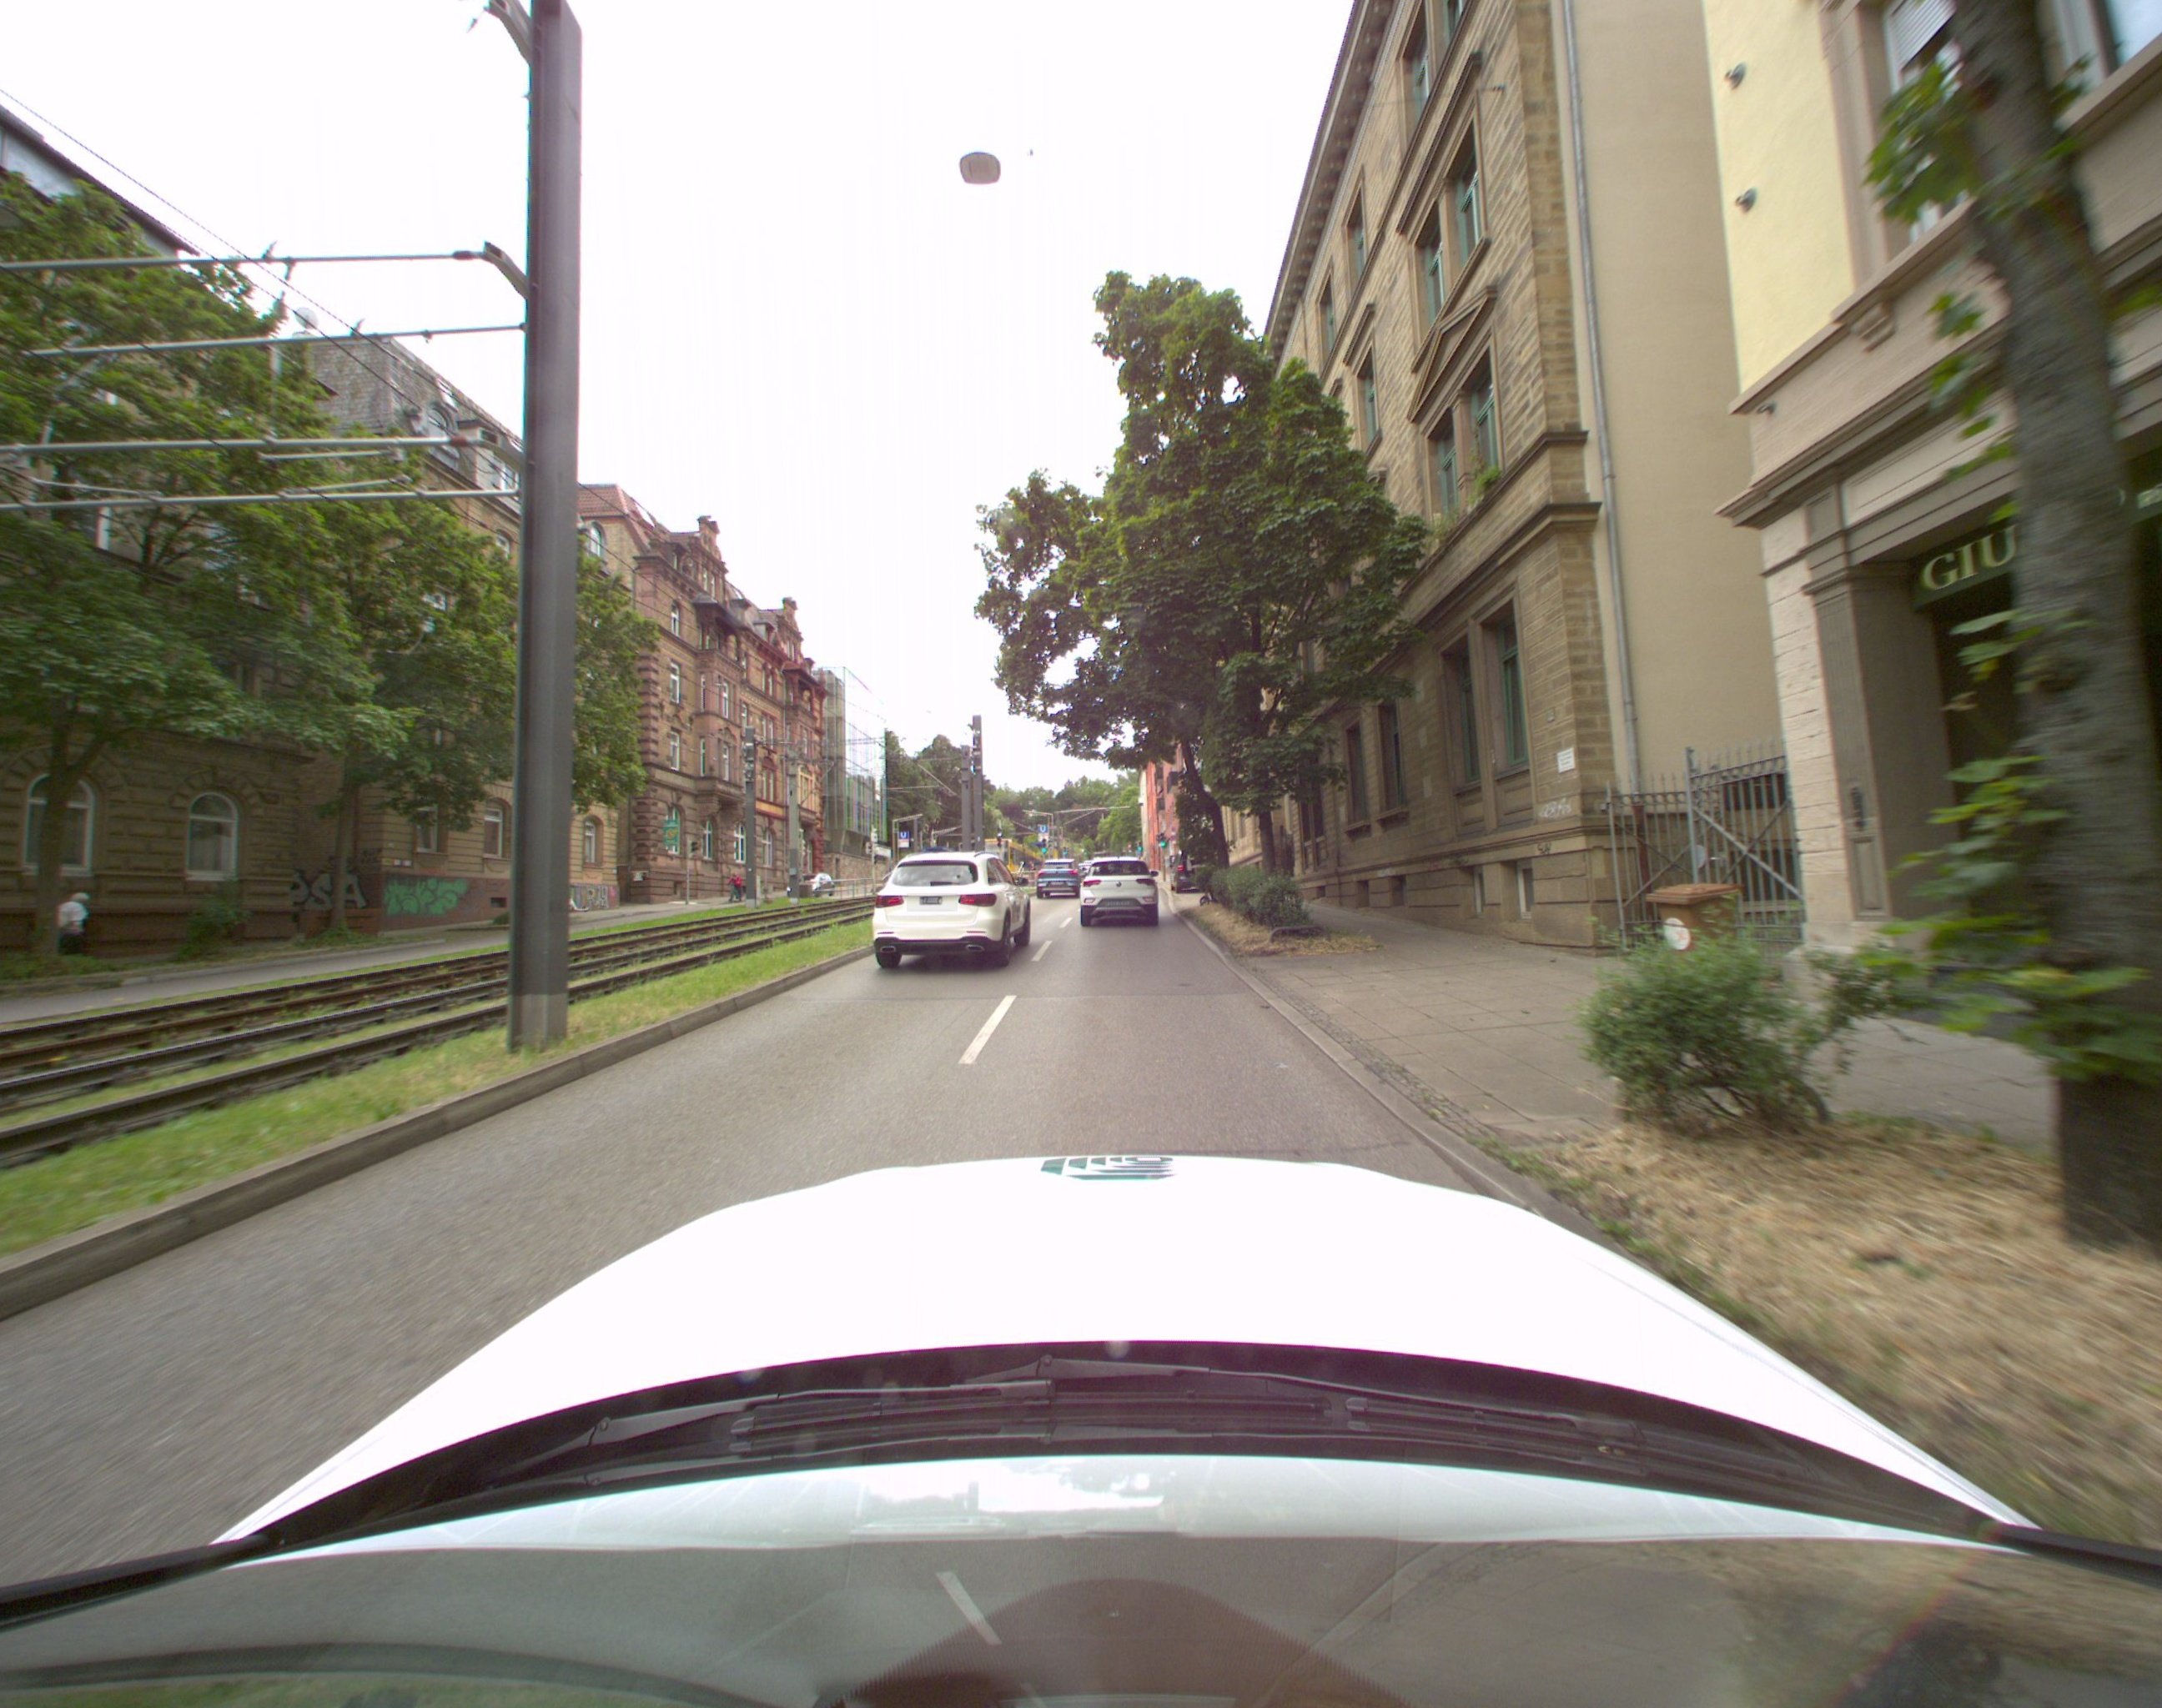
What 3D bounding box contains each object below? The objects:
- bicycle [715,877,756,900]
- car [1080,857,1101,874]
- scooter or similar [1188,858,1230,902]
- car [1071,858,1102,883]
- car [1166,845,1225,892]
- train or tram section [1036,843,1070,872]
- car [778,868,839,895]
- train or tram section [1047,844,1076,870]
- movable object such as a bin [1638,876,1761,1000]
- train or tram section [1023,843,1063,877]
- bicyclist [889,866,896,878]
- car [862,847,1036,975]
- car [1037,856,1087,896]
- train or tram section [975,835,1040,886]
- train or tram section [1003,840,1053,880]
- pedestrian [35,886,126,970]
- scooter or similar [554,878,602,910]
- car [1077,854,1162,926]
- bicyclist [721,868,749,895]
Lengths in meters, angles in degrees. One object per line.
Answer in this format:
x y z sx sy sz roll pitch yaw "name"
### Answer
-18.866 1.870 44.547 0.935 1.100 2.704 -2 0 2 "bicycle"
0.923 1.021 74.683 1.828 1.546 4.195 -1 0 2 "car"
3.402 0.697 21.721 1.031 1.119 0.332 -3 -1 8 "scooter or similar"
0.390 1.031 51.862 1.828 1.546 4.195 -1 0 2 "car"
4.465 0.551 32.334 1.828 1.601 4.195 -4 -1 2 "car"
-3.377 0.437 102.694 2.983 3.349 13.448 -2 0 3 "train or tram section"
-15.719 1.568 47.250 1.985 1.403 4.003 -2 0 3 "car"
-2.699 0.435 116.247 2.983 3.349 13.448 -2 0 3 "train or tram section"
5.113 0.681 6.759 0.558 0.933 0.514 -6 -1 8 "movable object such as a bin"
-4.020 0.612 89.189 2.983 3.349 13.448 -2 0 3 "train or tram section"
-18.828 1.755 81.219 0.516 1.191 0.656 -2 -1 2 "bicyclist"
-1.877 0.766 13.089 1.828 1.667 4.673 -1 0 2 "car"
-0.728 0.876 33.822 1.828 1.546 4.195 -1 0 2 "car"
-5.315 0.463 62.158 2.983 3.349 13.448 -2 0 3 "train or tram section"
-4.694 0.553 75.677 2.983 3.349 13.539 -2 0 3 "train or tram section"
-21.455 1.570 17.487 0.828 1.684 0.848 -3 -1 0 "pedestrian"
-21.364 1.684 34.655 0.627 1.255 2.214 -2 0 0 "scooter or similar"
0.877 0.790 19.793 1.829 1.546 4.194 -1 0 1 "car"
-18.881 1.494 44.507 0.935 1.425 1.188 -2 0 1 "bicyclist"
